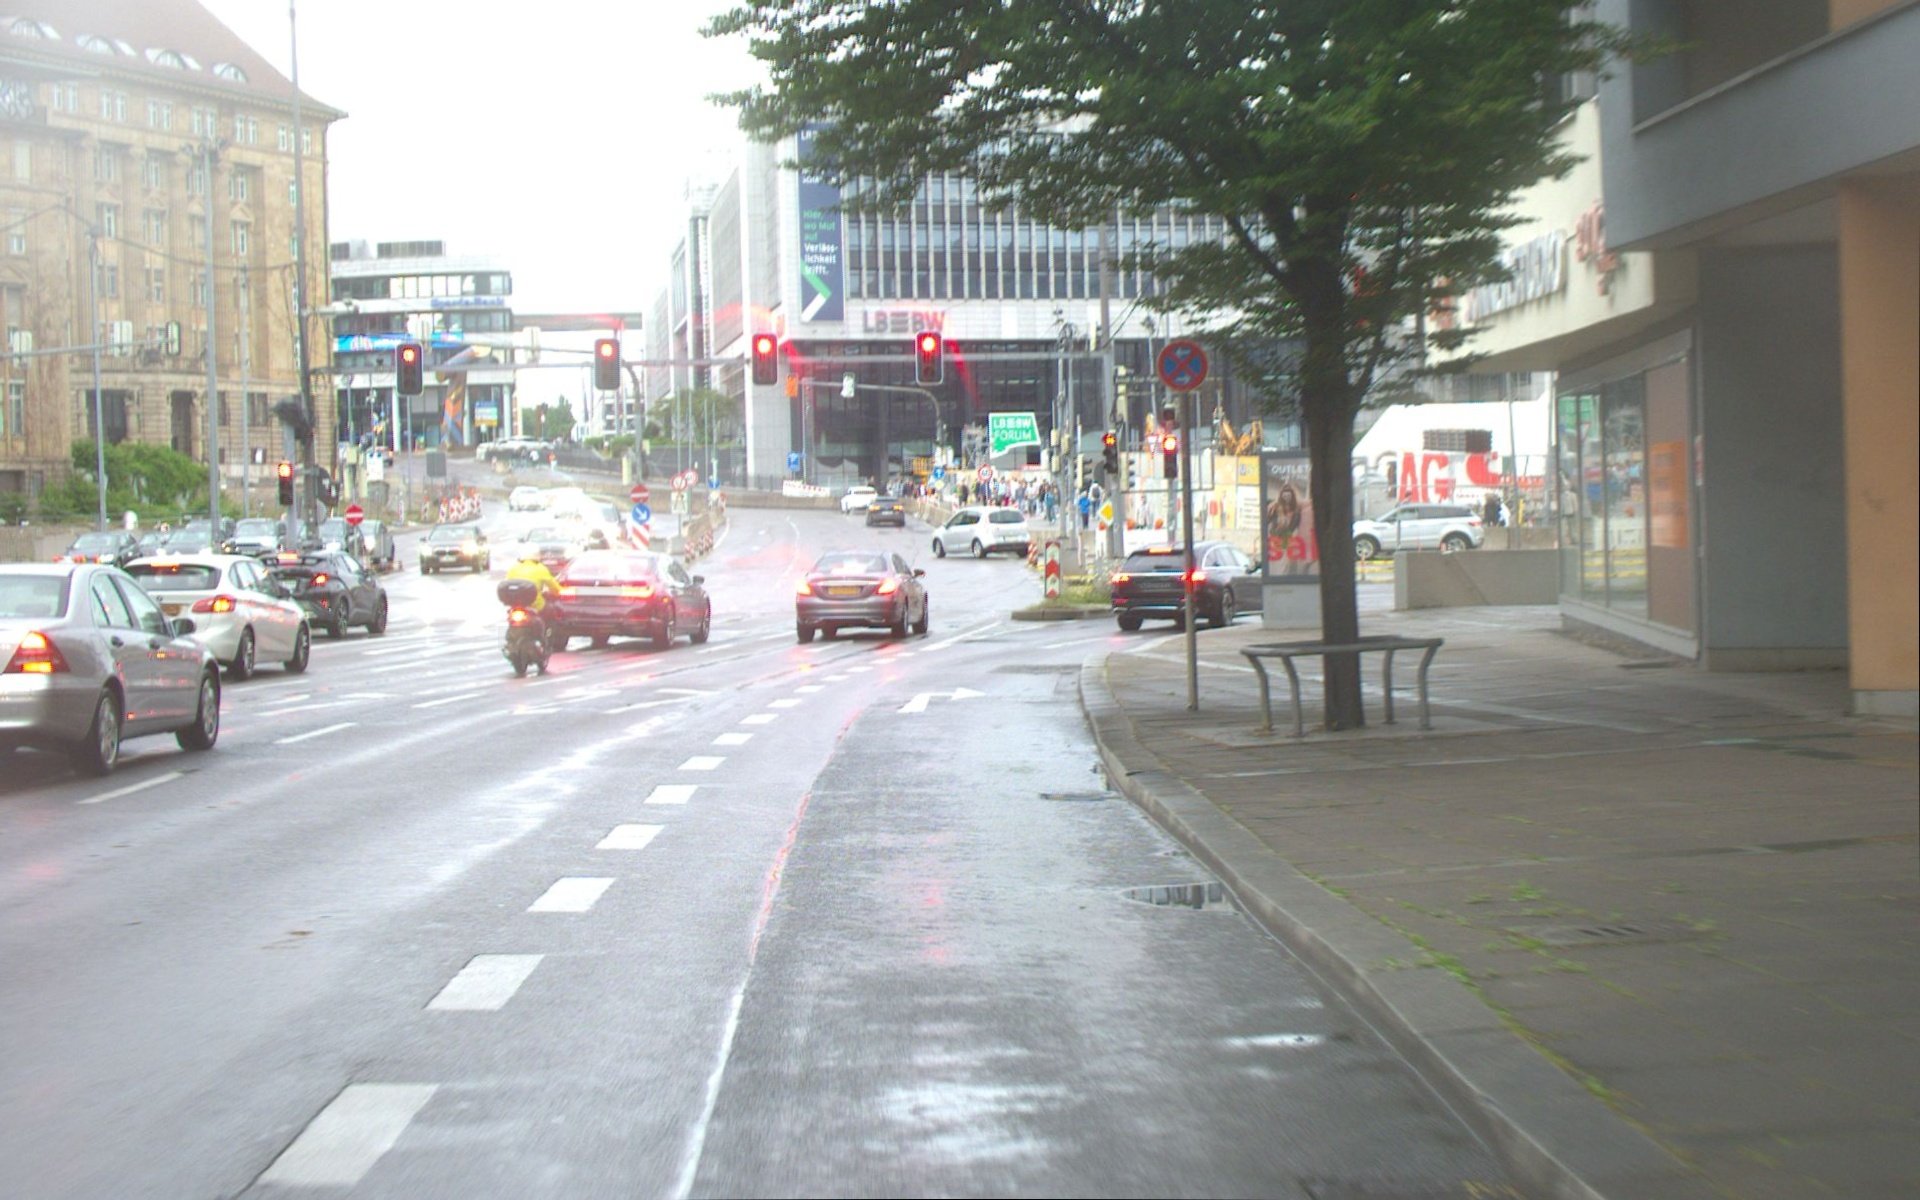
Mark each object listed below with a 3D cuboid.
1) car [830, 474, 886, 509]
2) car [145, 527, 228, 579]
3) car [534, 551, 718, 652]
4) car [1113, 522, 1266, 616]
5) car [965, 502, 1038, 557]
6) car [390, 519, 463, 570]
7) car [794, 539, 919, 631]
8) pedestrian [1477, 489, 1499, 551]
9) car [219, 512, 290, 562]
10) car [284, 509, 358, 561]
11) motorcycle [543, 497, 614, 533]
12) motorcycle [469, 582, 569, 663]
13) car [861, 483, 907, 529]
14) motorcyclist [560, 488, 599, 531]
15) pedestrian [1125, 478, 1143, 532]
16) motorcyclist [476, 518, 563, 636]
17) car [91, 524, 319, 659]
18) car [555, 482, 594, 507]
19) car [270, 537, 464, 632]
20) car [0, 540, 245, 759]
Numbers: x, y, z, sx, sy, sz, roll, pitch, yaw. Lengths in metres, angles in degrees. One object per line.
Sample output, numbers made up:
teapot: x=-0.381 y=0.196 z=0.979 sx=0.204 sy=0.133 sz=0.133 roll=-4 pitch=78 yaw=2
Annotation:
car: x=-5.759 y=-6.131 z=193.763 sx=1.993 sy=1.810 sz=4.001 roll=1 pitch=0 yaw=-21
car: x=-23.748 y=-1.431 z=105.623 sx=1.697 sy=1.514 sz=3.875 roll=-2 pitch=0 yaw=-1
car: x=-5.164 y=0.034 z=53.815 sx=1.887 sy=1.509 sz=5.001 roll=0 pitch=0 yaw=6
car: x=3.927 y=-0.499 z=58.316 sx=1.892 sy=1.539 sz=3.990 roll=0 pitch=0 yaw=14
car: x=1.312 y=-2.262 z=110.041 sx=1.727 sy=1.634 sz=3.435 roll=0 pitch=3 yaw=-10
car: x=-16.381 y=-1.716 z=105.689 sx=1.821 sy=1.481 sz=4.001 roll=-1 pitch=1 yaw=-3
car: x=-1.671 y=-0.279 z=56.880 sx=1.783 sy=1.397 sz=4.486 roll=0 pitch=2 yaw=2
pedestrian: x=16.201 y=-2.452 z=105.512 sx=0.576 sy=1.892 sz=0.361 roll=0 pitch=-1 yaw=33
car: x=-23.582 y=-2.103 z=114.997 sx=1.697 sy=1.569 sz=4.000 roll=0 pitch=0 yaw=-3
car: x=-20.405 y=-2.065 z=109.908 sx=1.801 sy=1.569 sz=4.075 roll=0 pitch=0 yaw=-3
motorcycle: x=-12.253 y=-2.729 z=110.525 sx=2.136 sy=1.105 sz=0.851 roll=1 pitch=0 yaw=-39
motorcycle: x=-5.567 y=0.271 z=43.510 sx=0.942 sy=0.986 sz=2.294 roll=0 pitch=0 yaw=1
car: x=-3.609 y=-4.447 z=162.958 sx=1.993 sy=2.007 sz=4.000 roll=0 pitch=0 yaw=-4
motorcyclist: x=-12.230 y=-2.897 z=110.561 sx=0.945 sy=1.353 sz=0.849 roll=1 pitch=-1 yaw=-39
pedestrian: x=6.116 y=-3.334 z=120.933 sx=0.361 sy=1.892 sz=0.576 roll=1 pitch=-1 yaw=-35
motorcyclist: x=-5.570 y=-0.283 z=43.554 sx=0.941 sy=1.470 sz=1.100 roll=0 pitch=0 yaw=1
car: x=-9.454 y=-0.091 z=43.344 sx=1.733 sy=1.610 sz=3.999 roll=0 pitch=0 yaw=4
car: x=-21.630 y=-5.921 z=193.073 sx=1.767 sy=1.256 sz=4.194 roll=0 pitch=0 yaw=0
car: x=-10.300 y=-0.250 z=59.986 sx=1.784 sy=1.594 sz=4.069 roll=0 pitch=0 yaw=15
car: x=-6.470 y=0.323 z=24.168 sx=1.733 sy=1.399 sz=4.382 roll=0 pitch=0 yaw=3
